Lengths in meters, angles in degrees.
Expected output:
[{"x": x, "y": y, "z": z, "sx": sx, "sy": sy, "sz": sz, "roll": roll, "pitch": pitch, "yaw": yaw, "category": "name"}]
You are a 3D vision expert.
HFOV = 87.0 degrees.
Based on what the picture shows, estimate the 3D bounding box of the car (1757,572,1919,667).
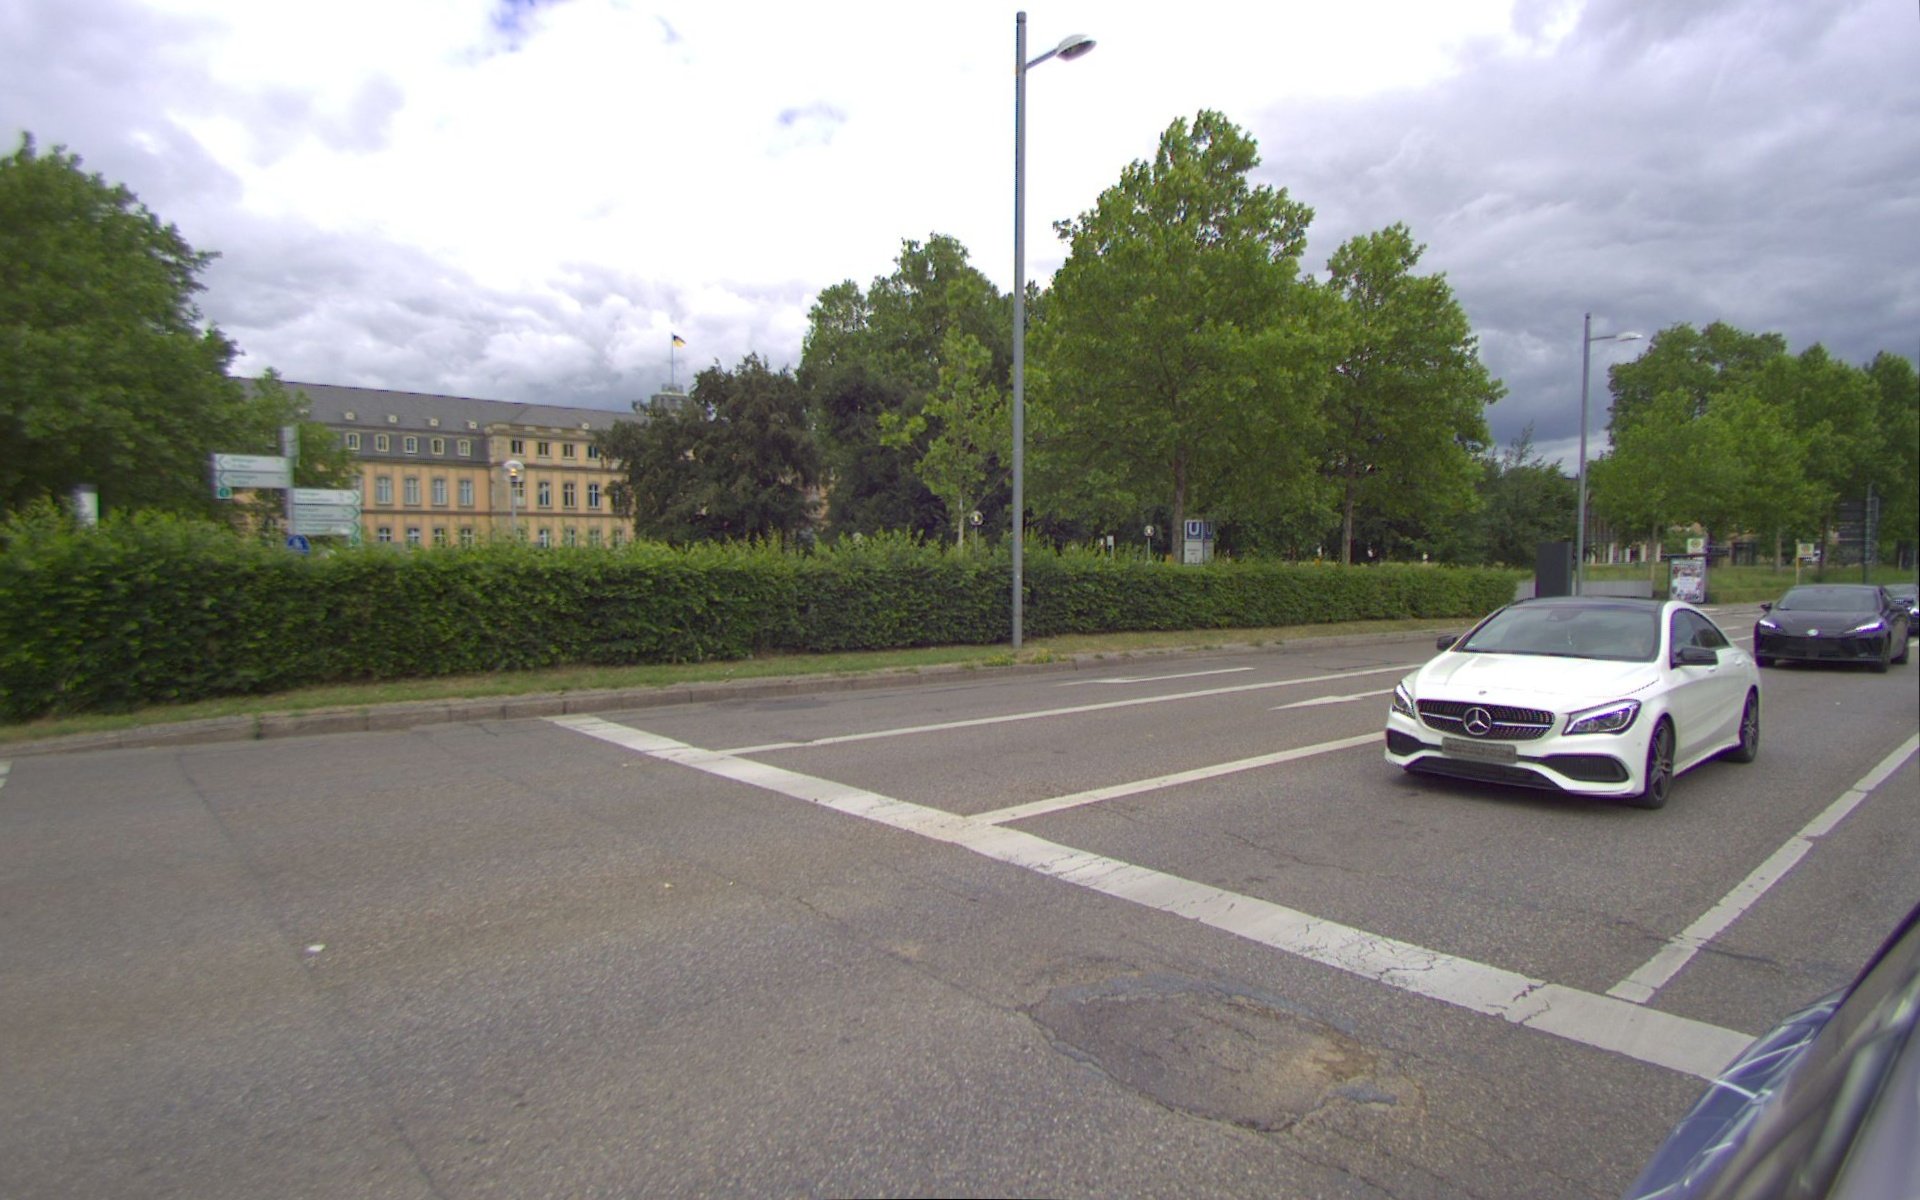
[{"x": 16.197, "y": 0.281, "z": 18.494, "sx": 4.048, "sy": 1.543, "sz": 1.828, "roll": -1, "pitch": 2, "yaw": -41, "category": "car"}]

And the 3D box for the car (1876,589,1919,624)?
[{"x": 42.240, "y": 0.280, "z": 44.917, "sx": 3.930, "sy": 1.438, "sz": 1.866, "roll": -2, "pitch": 2, "yaw": -40, "category": "car"}]

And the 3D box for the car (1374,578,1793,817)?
[{"x": 5.340, "y": 0.561, "z": 8.405, "sx": 4.428, "sy": 1.441, "sz": 1.722, "roll": -2, "pitch": 2, "yaw": -41, "category": "car"}]
